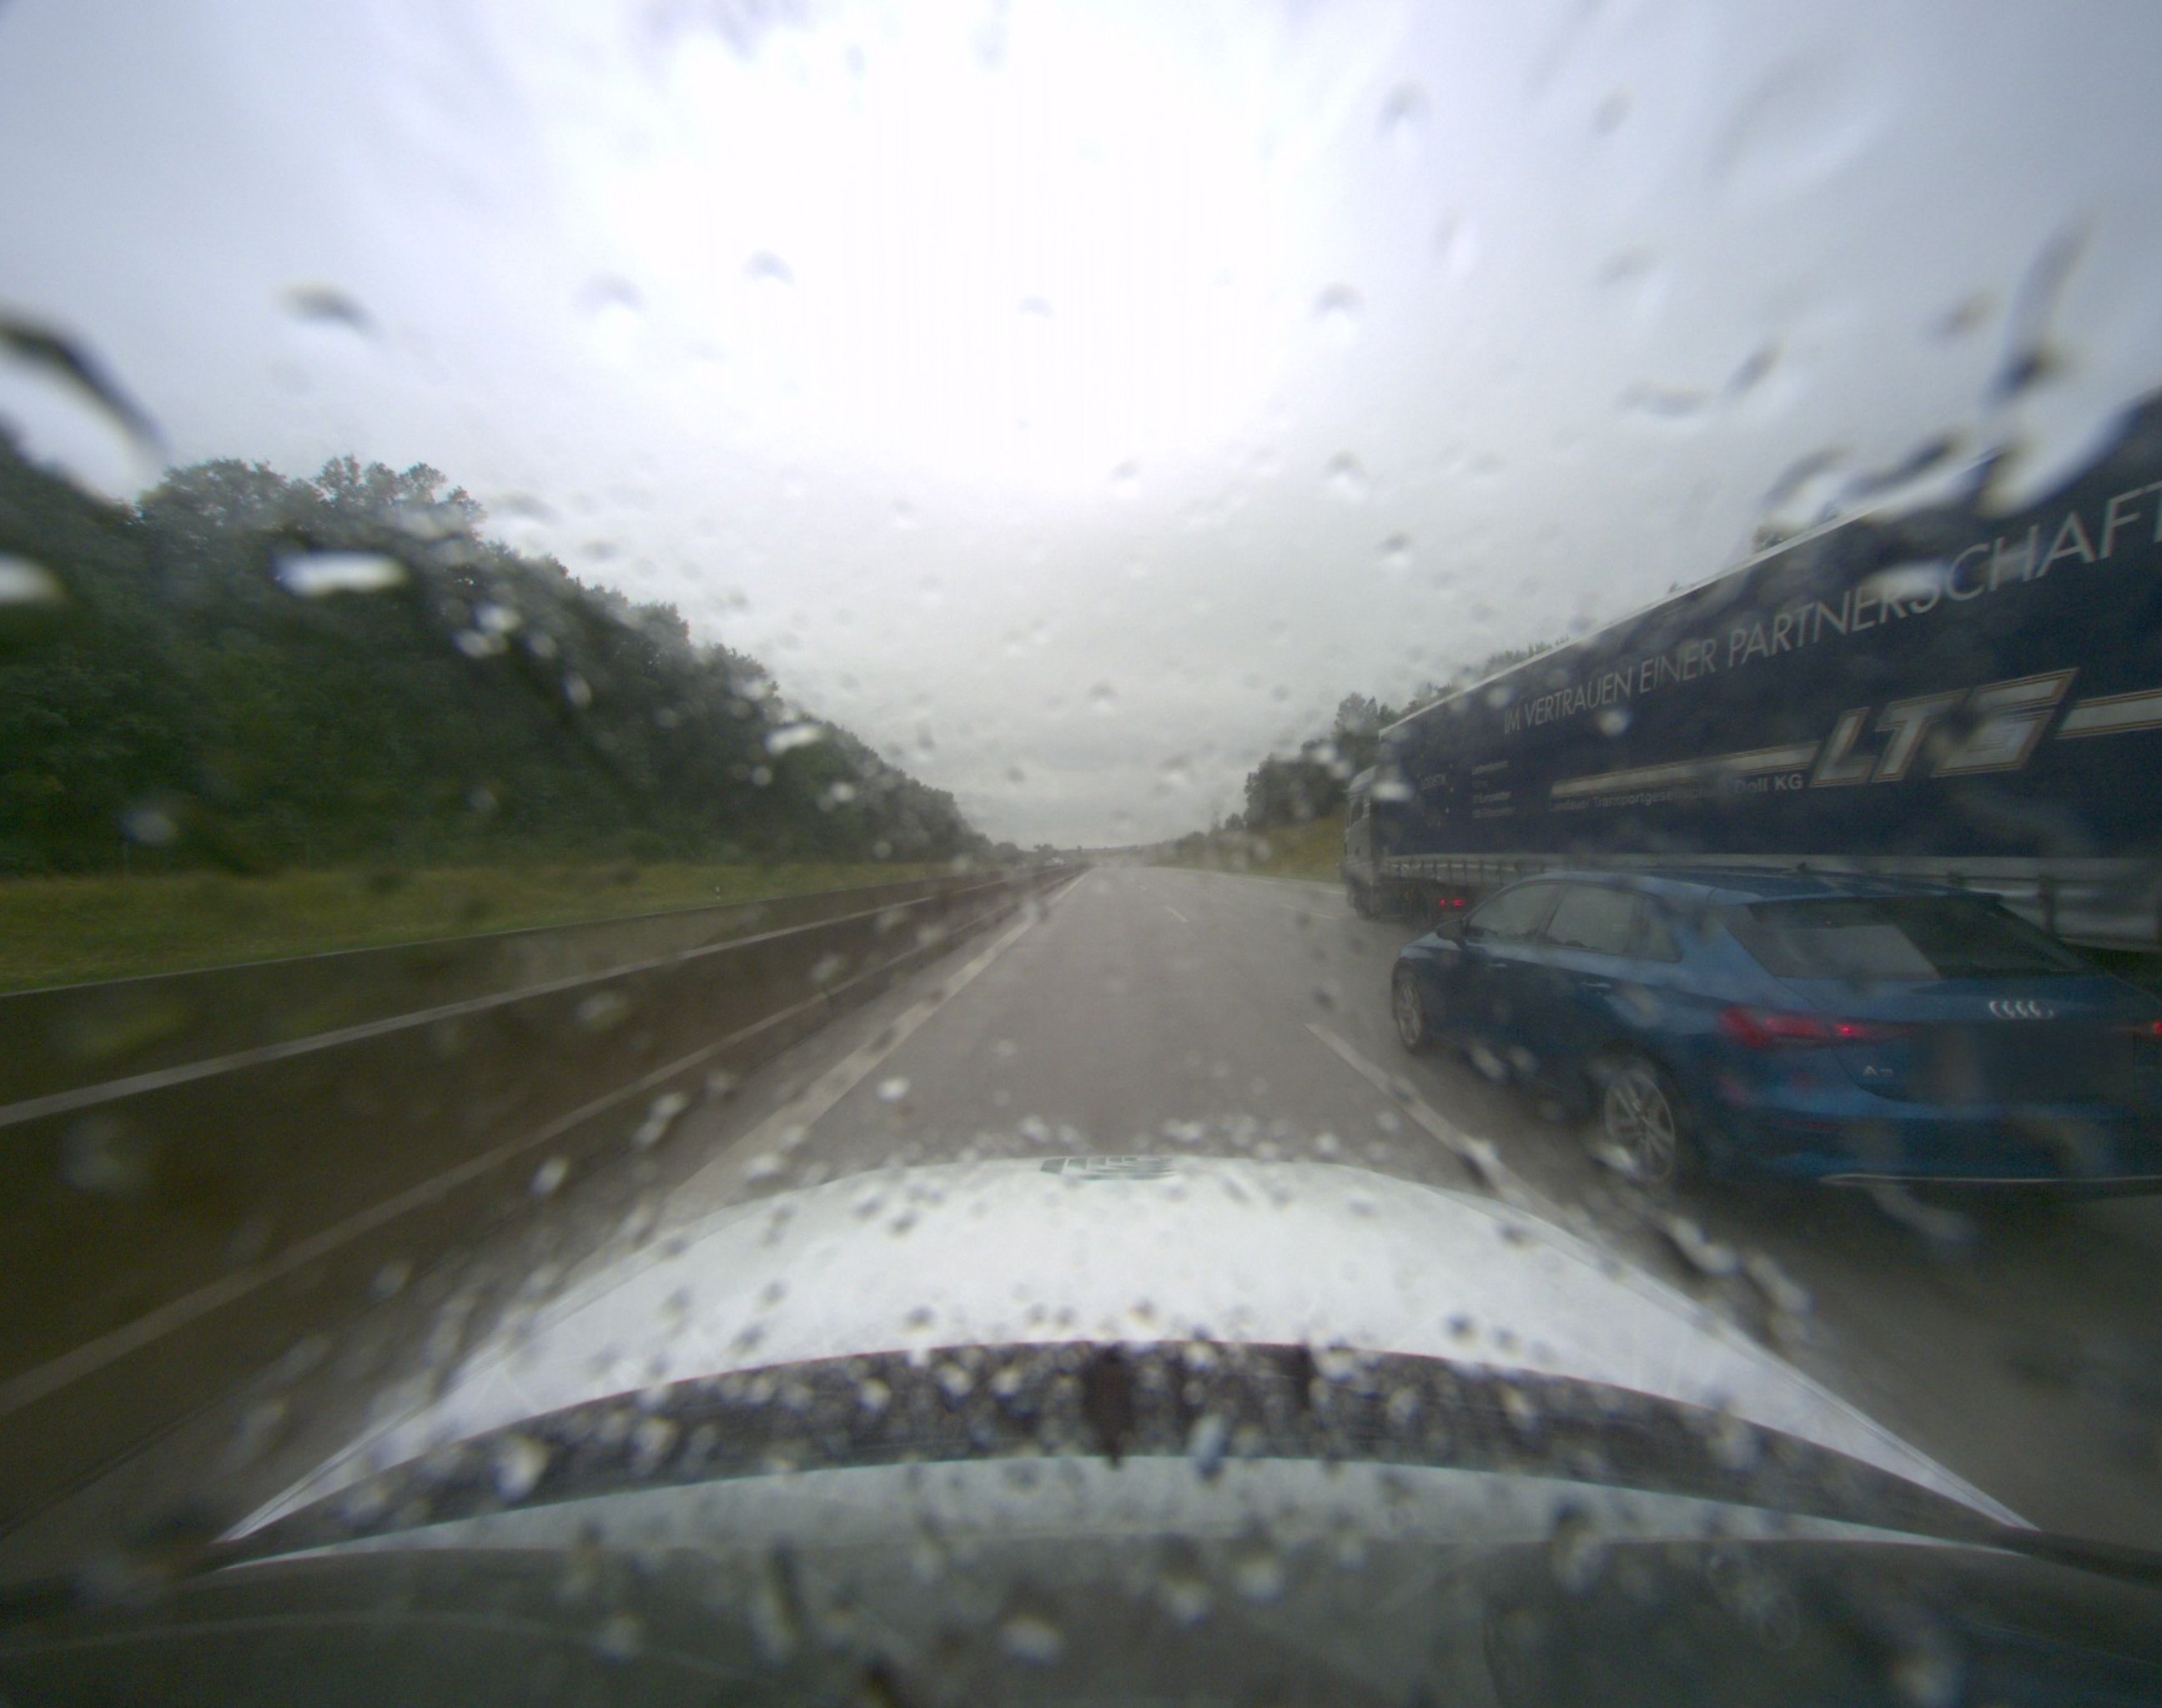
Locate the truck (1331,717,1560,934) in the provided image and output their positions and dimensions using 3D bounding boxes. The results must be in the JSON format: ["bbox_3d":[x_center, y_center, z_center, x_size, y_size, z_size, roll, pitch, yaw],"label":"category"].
[{"bbox_3d":[7.581,-0.521,17.863,2.626,3.954,5.689,-1,0,2],"label":"truck"}]

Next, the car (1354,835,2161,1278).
[{"bbox_3d":[3.320,0.722,5.120,1.723,1.459,4.674,-2,-1,2],"label":"car"}]

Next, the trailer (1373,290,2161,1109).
[{"bbox_3d":[7.319,-0.816,9.655,2.696,4.379,15.211,-1,0,2],"label":"trailer"}]

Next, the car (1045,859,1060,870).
[{"bbox_3d":[-4.618,1.672,130.937,1.960,1.610,4.855,-3,0,2],"label":"car"}]

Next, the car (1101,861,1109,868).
[{"bbox_3d":[5.068,2.224,170.507,1.723,1.331,4.431,-2,0,2],"label":"car"}]
